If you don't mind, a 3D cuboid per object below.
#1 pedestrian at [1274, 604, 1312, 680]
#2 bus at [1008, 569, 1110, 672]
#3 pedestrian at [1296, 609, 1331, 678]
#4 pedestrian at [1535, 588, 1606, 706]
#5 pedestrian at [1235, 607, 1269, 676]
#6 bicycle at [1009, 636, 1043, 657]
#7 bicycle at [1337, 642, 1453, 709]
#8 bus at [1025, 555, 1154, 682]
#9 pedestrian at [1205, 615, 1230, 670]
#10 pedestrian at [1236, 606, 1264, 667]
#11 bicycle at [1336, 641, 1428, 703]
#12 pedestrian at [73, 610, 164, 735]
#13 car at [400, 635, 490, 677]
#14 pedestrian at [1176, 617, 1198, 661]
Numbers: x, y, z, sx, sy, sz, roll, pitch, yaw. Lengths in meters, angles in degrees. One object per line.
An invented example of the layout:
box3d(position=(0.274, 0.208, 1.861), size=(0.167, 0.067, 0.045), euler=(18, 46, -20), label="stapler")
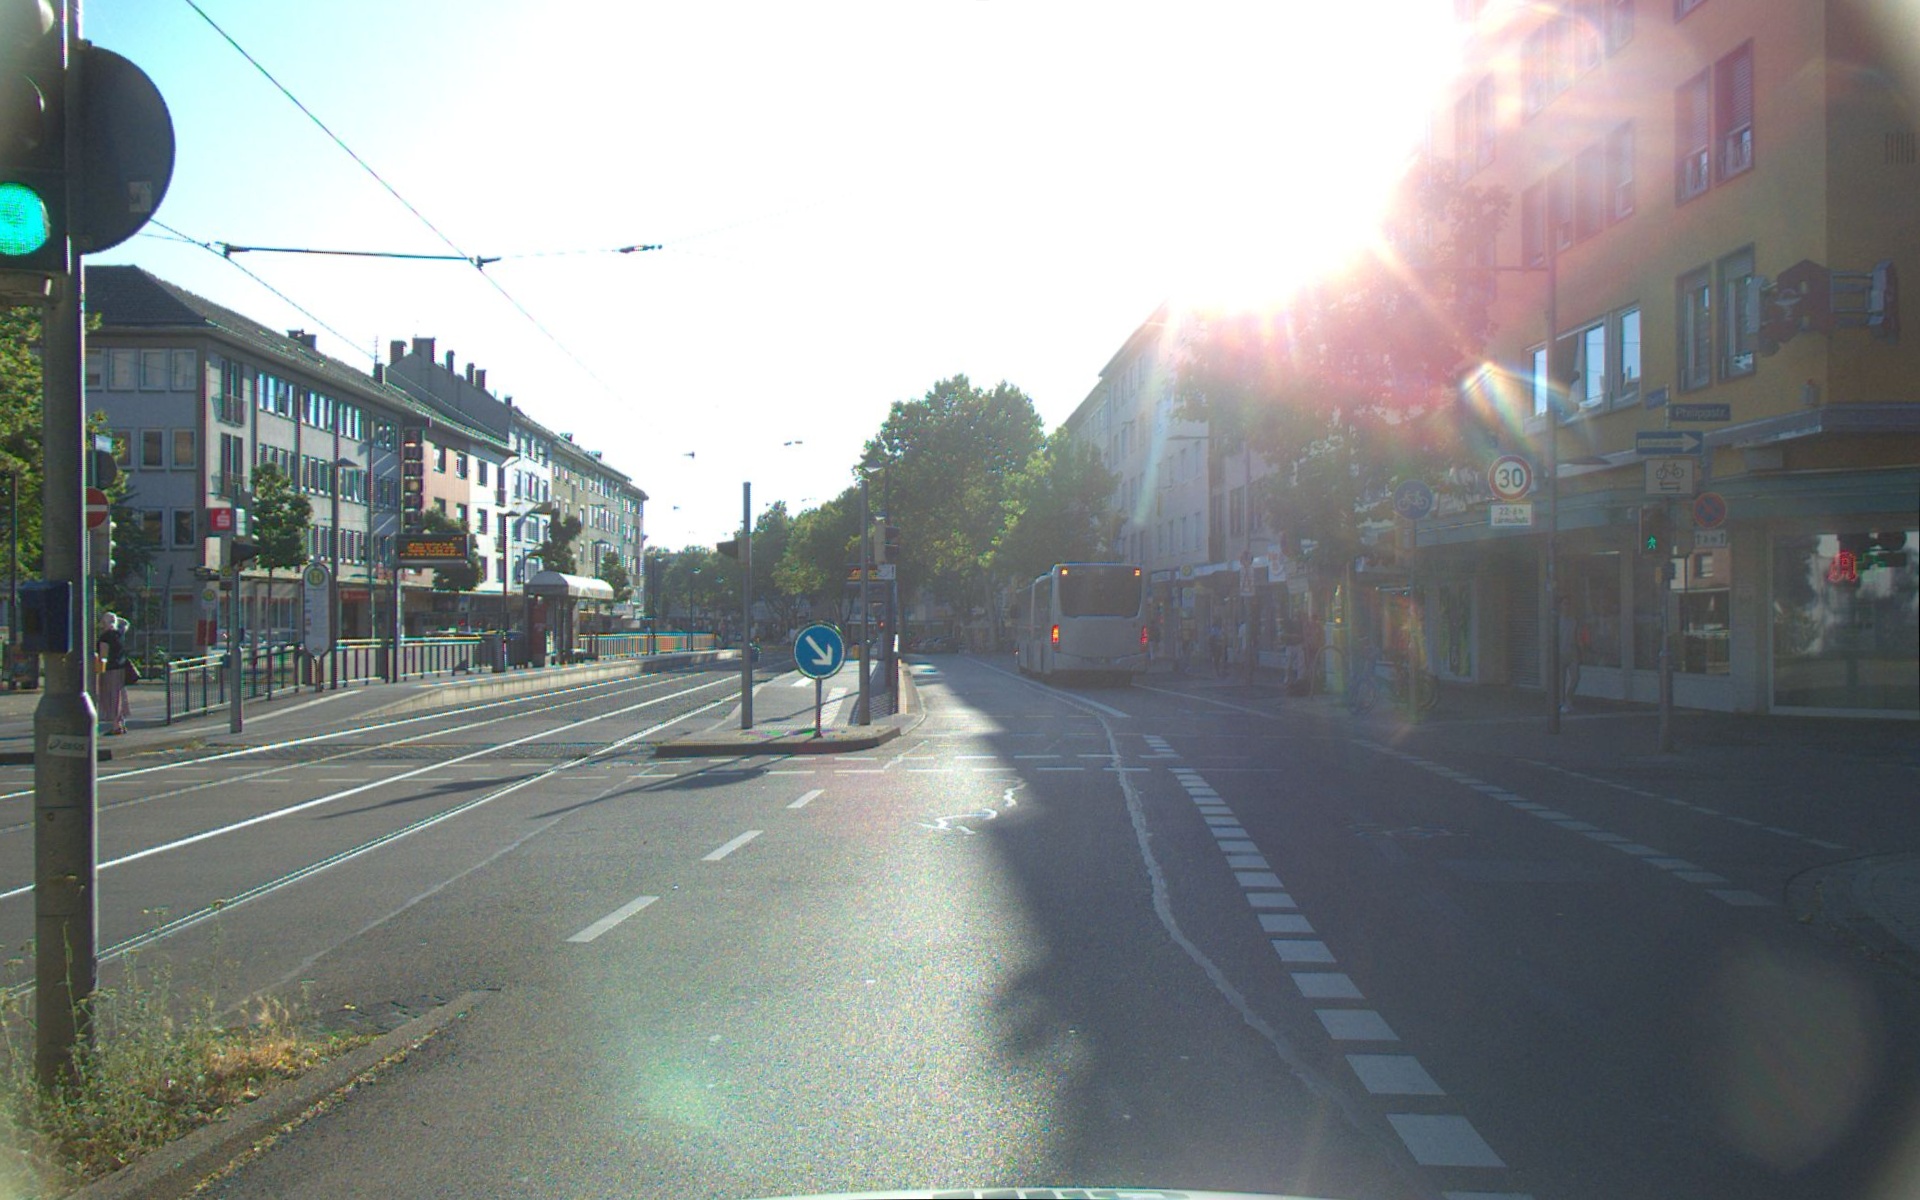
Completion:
box3d(position=(8.095, 1.019, 40.202), size=(0.709, 1.838, 0.766), euler=(0, -2, -2), label="pedestrian")
box3d(position=(3.203, 0.722, 55.647), size=(2.642, 3.173, 9.066), euler=(0, -1, -2), label="bus")
box3d(position=(9.108, 1.124, 42.626), size=(0.709, 1.754, 0.766), euler=(0, -2, -2), label="pedestrian")
box3d(position=(9.560, 0.739, 25.930), size=(0.728, 1.811, 0.894), euler=(0, -2, -2), label="pedestrian")
box3d(position=(7.742, 1.105, 43.880), size=(0.709, 1.810, 0.766), euler=(0, -2, -2), label="pedestrian")
box3d(position=(3.875, 2.715, 97.193), size=(1.848, 1.096, 0.754), euler=(-5, -1, 1), label="bicycle")
box3d(position=(7.238, 1.251, 27.555), size=(1.763, 1.026, 0.540), euler=(-2, -1, -6), label="bicycle")
box3d(position=(3.452, 0.555, 46.412), size=(2.642, 3.173, 9.377), euler=(0, -1, -2), label="bus")
box3d(position=(7.533, 1.242, 48.445), size=(0.598, 1.606, 0.851), euler=(0, -1, 0), label="pedestrian")
box3d(position=(9.105, 1.143, 51.927), size=(0.709, 1.872, 0.766), euler=(0, -2, -2), label="pedestrian")
box3d(position=(7.183, 1.224, 28.171), size=(1.454, 1.026, 0.454), euler=(0, -1, -5), label="bicycle")
box3d(position=(-12.308, 1.055, 24.212), size=(0.900, 1.791, 0.832), euler=(-1, -2, -1), label="pedestrian")
box3d(position=(-22.581, 2.441, 72.636), size=(1.734, 1.709, 3.499), euler=(-1, -1, 34), label="car")
box3d(position=(8.585, 1.460, 62.576), size=(0.709, 1.661, 0.766), euler=(0, -1, -2), label="pedestrian")
